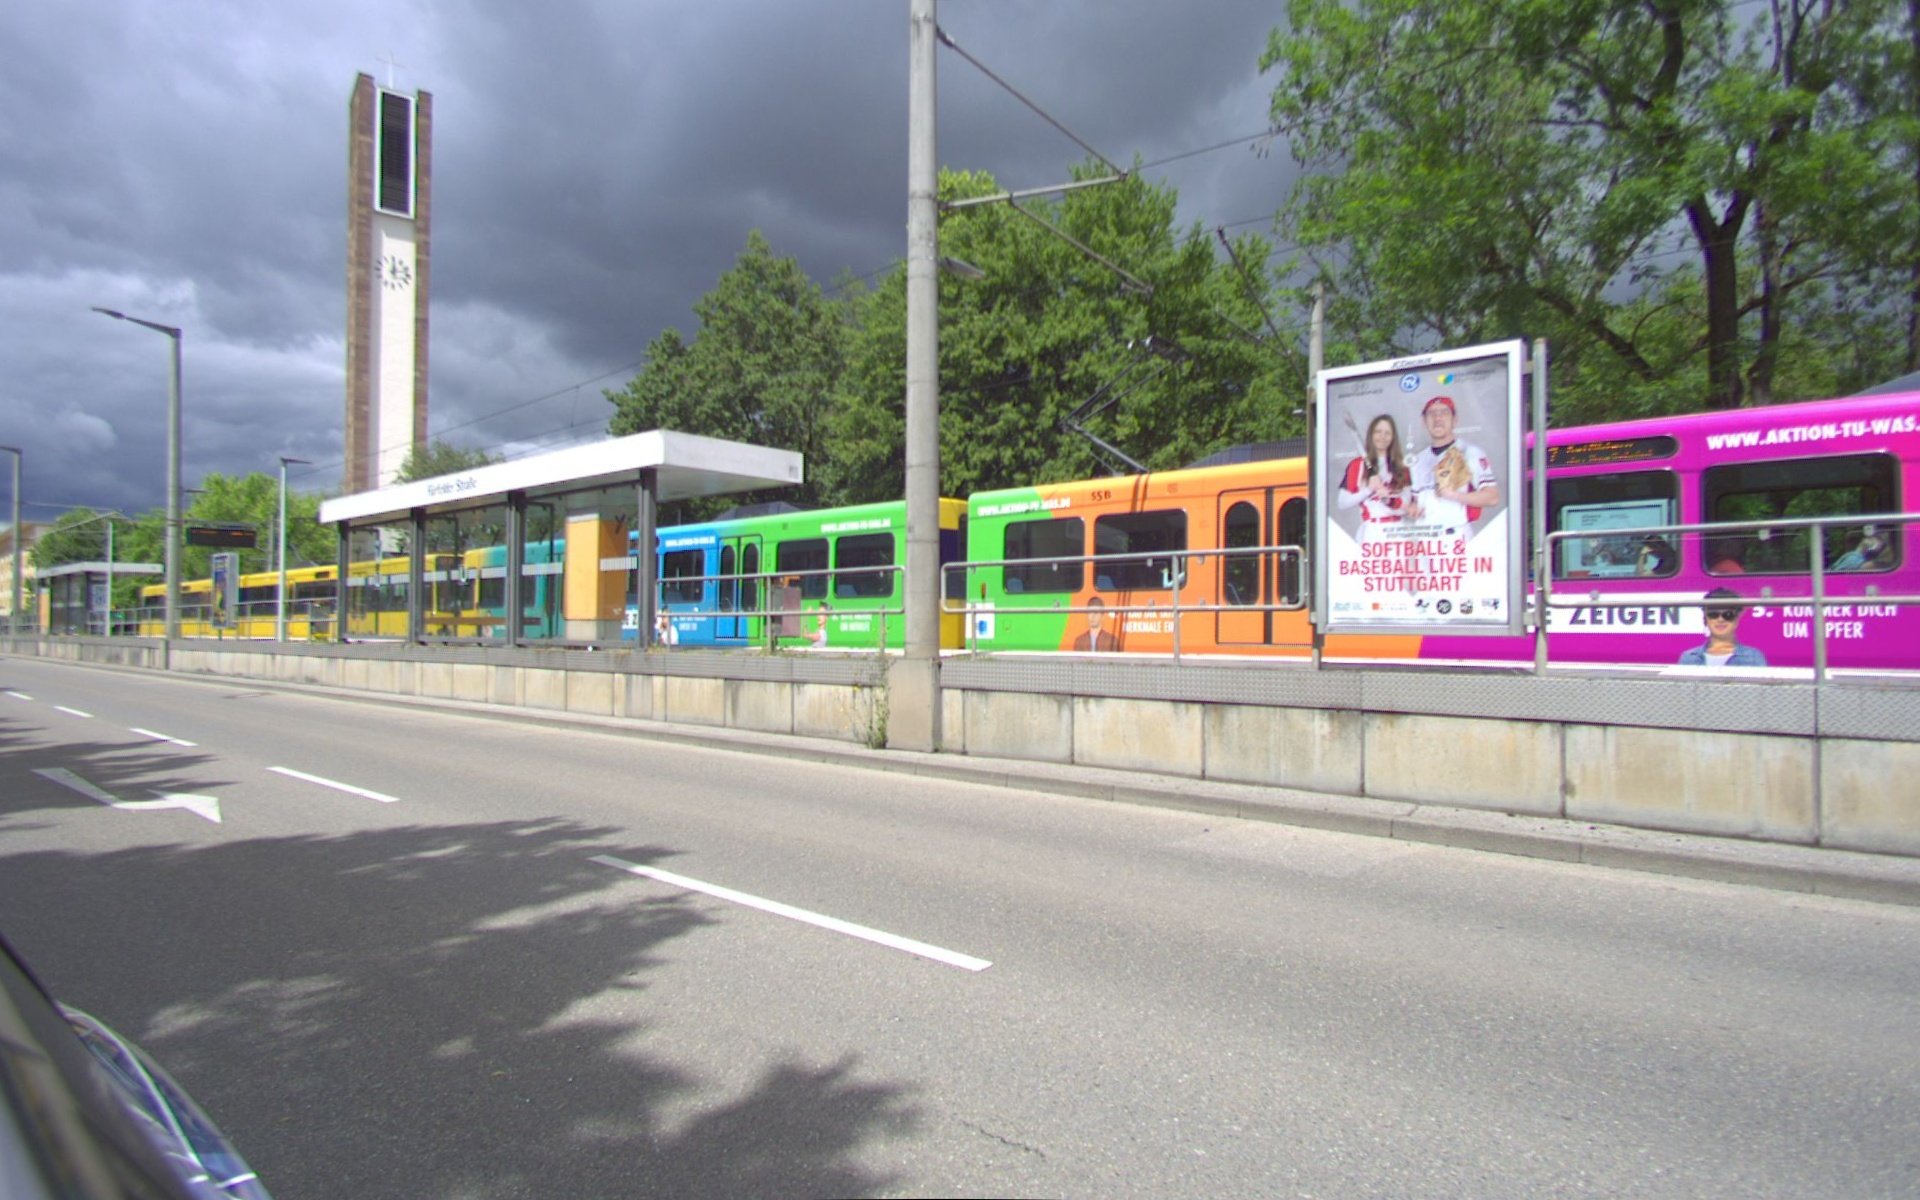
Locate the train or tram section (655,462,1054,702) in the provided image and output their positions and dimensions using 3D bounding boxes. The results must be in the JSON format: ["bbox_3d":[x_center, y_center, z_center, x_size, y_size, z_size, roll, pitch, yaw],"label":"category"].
[{"bbox_3d":[-2.428,-0.235,20.234,8.372,3.892,2.950,-1,0,40],"label":"train or tram section"}]

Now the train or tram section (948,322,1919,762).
[{"bbox_3d":[7.816,-0.489,11.482,18.525,3.892,2.950,-1,0,41],"label":"train or tram section"}]

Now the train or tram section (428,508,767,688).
[{"bbox_3d":[-10.059,0.047,26.799,11.778,3.892,2.950,-1,0,41],"label":"train or tram section"}]

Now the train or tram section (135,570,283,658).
[{"bbox_3d":[-37.342,0.722,50.011,13.141,3.892,2.950,-1,0,40],"label":"train or tram section"}]

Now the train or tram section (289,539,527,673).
[{"bbox_3d":[-19.173,0.273,34.545,12.192,3.892,2.950,-1,0,41],"label":"train or tram section"}]

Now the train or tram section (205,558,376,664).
[{"bbox_3d":[-28.082,0.493,42.129,11.098,3.892,2.950,-1,0,40],"label":"train or tram section"}]
